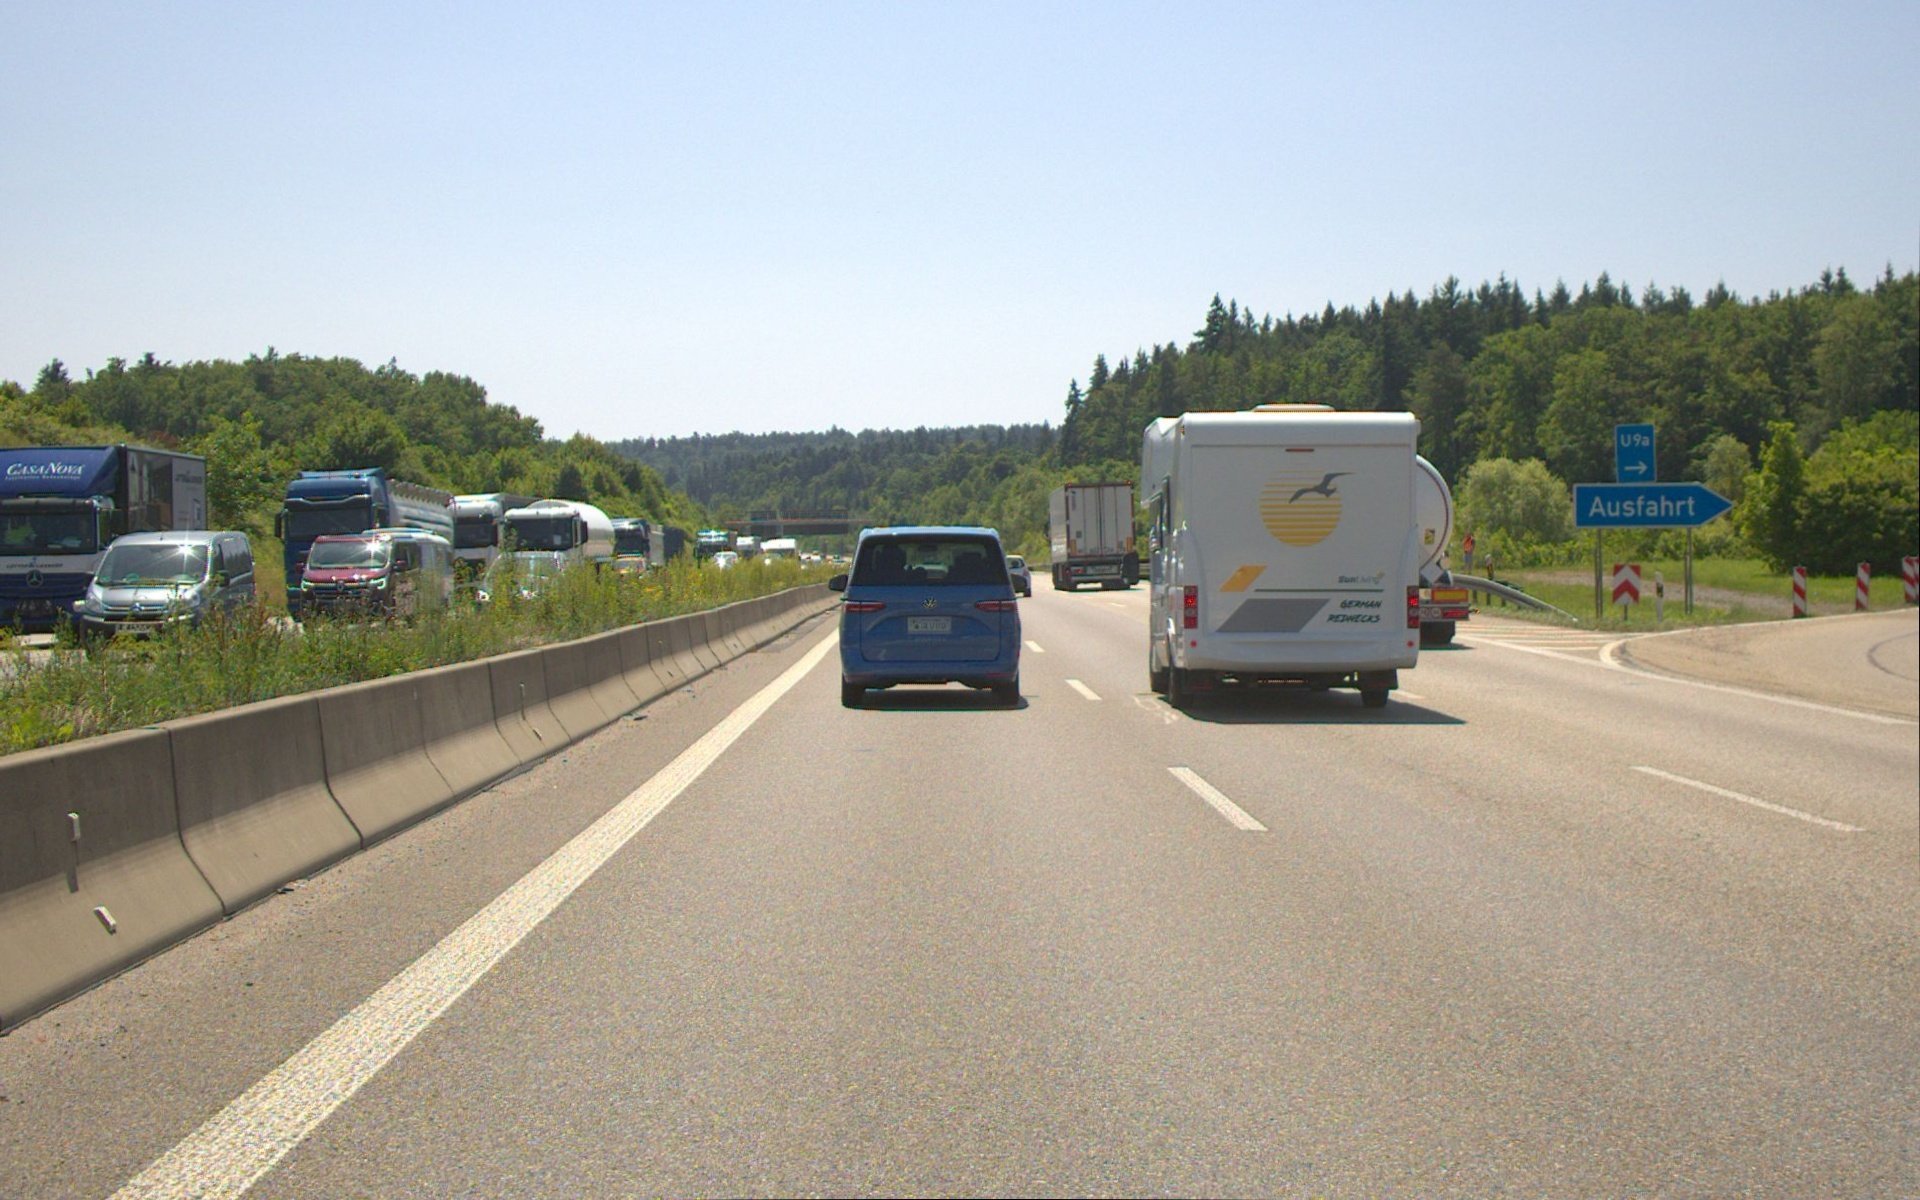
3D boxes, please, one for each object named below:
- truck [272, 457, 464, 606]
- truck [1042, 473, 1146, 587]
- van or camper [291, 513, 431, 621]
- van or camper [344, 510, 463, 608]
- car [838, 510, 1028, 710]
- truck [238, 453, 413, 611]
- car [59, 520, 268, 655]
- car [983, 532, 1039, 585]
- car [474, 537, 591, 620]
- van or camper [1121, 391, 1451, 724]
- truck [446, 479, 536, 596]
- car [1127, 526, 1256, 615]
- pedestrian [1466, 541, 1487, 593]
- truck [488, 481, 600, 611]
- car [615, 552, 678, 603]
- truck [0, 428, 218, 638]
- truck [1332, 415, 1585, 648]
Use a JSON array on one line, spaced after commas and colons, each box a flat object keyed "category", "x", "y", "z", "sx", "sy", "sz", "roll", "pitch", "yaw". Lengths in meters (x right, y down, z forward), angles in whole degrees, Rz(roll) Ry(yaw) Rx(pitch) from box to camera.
[{"category": "truck", "x": -17.162, "y": -1.997, "z": 100.719, "sx": 3.578, "sy": 4.079, "sz": 12.580, "roll": 0, "pitch": 1, "yaw": -1}, {"category": "truck", "x": 5.085, "y": -2.626, "z": 132.314, "sx": 3.487, "sy": 4.156, "sz": 8.642, "roll": 1, "pitch": 0, "yaw": -1}, {"category": "van or camper", "x": -12.609, "y": -0.686, "z": 72.753, "sx": 1.993, "sy": 2.145, "sz": 5.955, "roll": -1, "pitch": 0, "yaw": -1}, {"category": "van or camper", "x": -12.665, "y": -0.923, "z": 78.454, "sx": 1.993, "sy": 2.145, "sz": 4.718, "roll": -1, "pitch": 0, "yaw": -1}, {"category": "car", "x": -0.295, "y": 0.054, "z": 37.299, "sx": 1.909, "sy": 2.006, "sz": 4.000, "roll": -1, "pitch": 2, "yaw": 0}, {"category": "truck", "x": -17.060, "y": -1.794, "z": 92.926, "sx": 3.490, "sy": 4.023, "sz": 6.644, "roll": 1, "pitch": 0, "yaw": -1}, {"category": "car", "x": -11.986, "y": -0.196, "z": 52.060, "sx": 2.023, "sy": 1.951, "sz": 5.095, "roll": 0, "pitch": 0, "yaw": -1}, {"category": "car", "x": 1.761, "y": -1.435, "z": 120.439, "sx": 1.818, "sy": 1.788, "sz": 3.894, "roll": 1, "pitch": 0, "yaw": -1}, {"category": "car", "x": -8.405, "y": -0.417, "z": 67.936, "sx": 1.754, "sy": 1.578, "sz": 4.854, "roll": 0, "pitch": 0, "yaw": -1}, {"category": "van or camper", "x": 3.224, "y": -0.423, "z": 35.814, "sx": 2.603, "sy": 3.068, "sz": 7.182, "roll": 1, "pitch": 0, "yaw": -1}, {"category": "truck", "x": -16.850, "y": -2.202, "z": 123.962, "sx": 2.088, "sy": 4.015, "sz": 7.878, "roll": 1, "pitch": 0, "yaw": 0}, {"category": "car", "x": 3.963, "y": -0.517, "z": 59.438, "sx": 1.909, "sy": 1.470, "sz": 4.000, "roll": -1, "pitch": 1, "yaw": 0}, {"category": "pedestrian", "x": 20.707, "y": -1.323, "z": 137.828, "sx": 0.688, "sy": 2.073, "sz": 0.928, "roll": 1, "pitch": 0, "yaw": 0}, {"category": "truck", "x": -12.985, "y": -1.656, "z": 107.748, "sx": 2.618, "sy": 3.877, "sz": 7.403, "roll": -1, "pitch": 0, "yaw": -1}, {"category": "car", "x": -12.948, "y": -0.893, "z": 142.304, "sx": 2.086, "sy": 2.056, "sz": 5.059, "roll": 0, "pitch": 0, "yaw": 0}, {"category": "truck", "x": -16.375, "y": -1.204, "z": 65.176, "sx": 2.545, "sy": 3.662, "sz": 9.938, "roll": 0, "pitch": 0, "yaw": 0}, {"category": "truck", "x": 8.174, "y": -1.168, "z": 57.406, "sx": 2.928, "sy": 3.563, "sz": 8.527, "roll": -1, "pitch": 1, "yaw": 0}]
